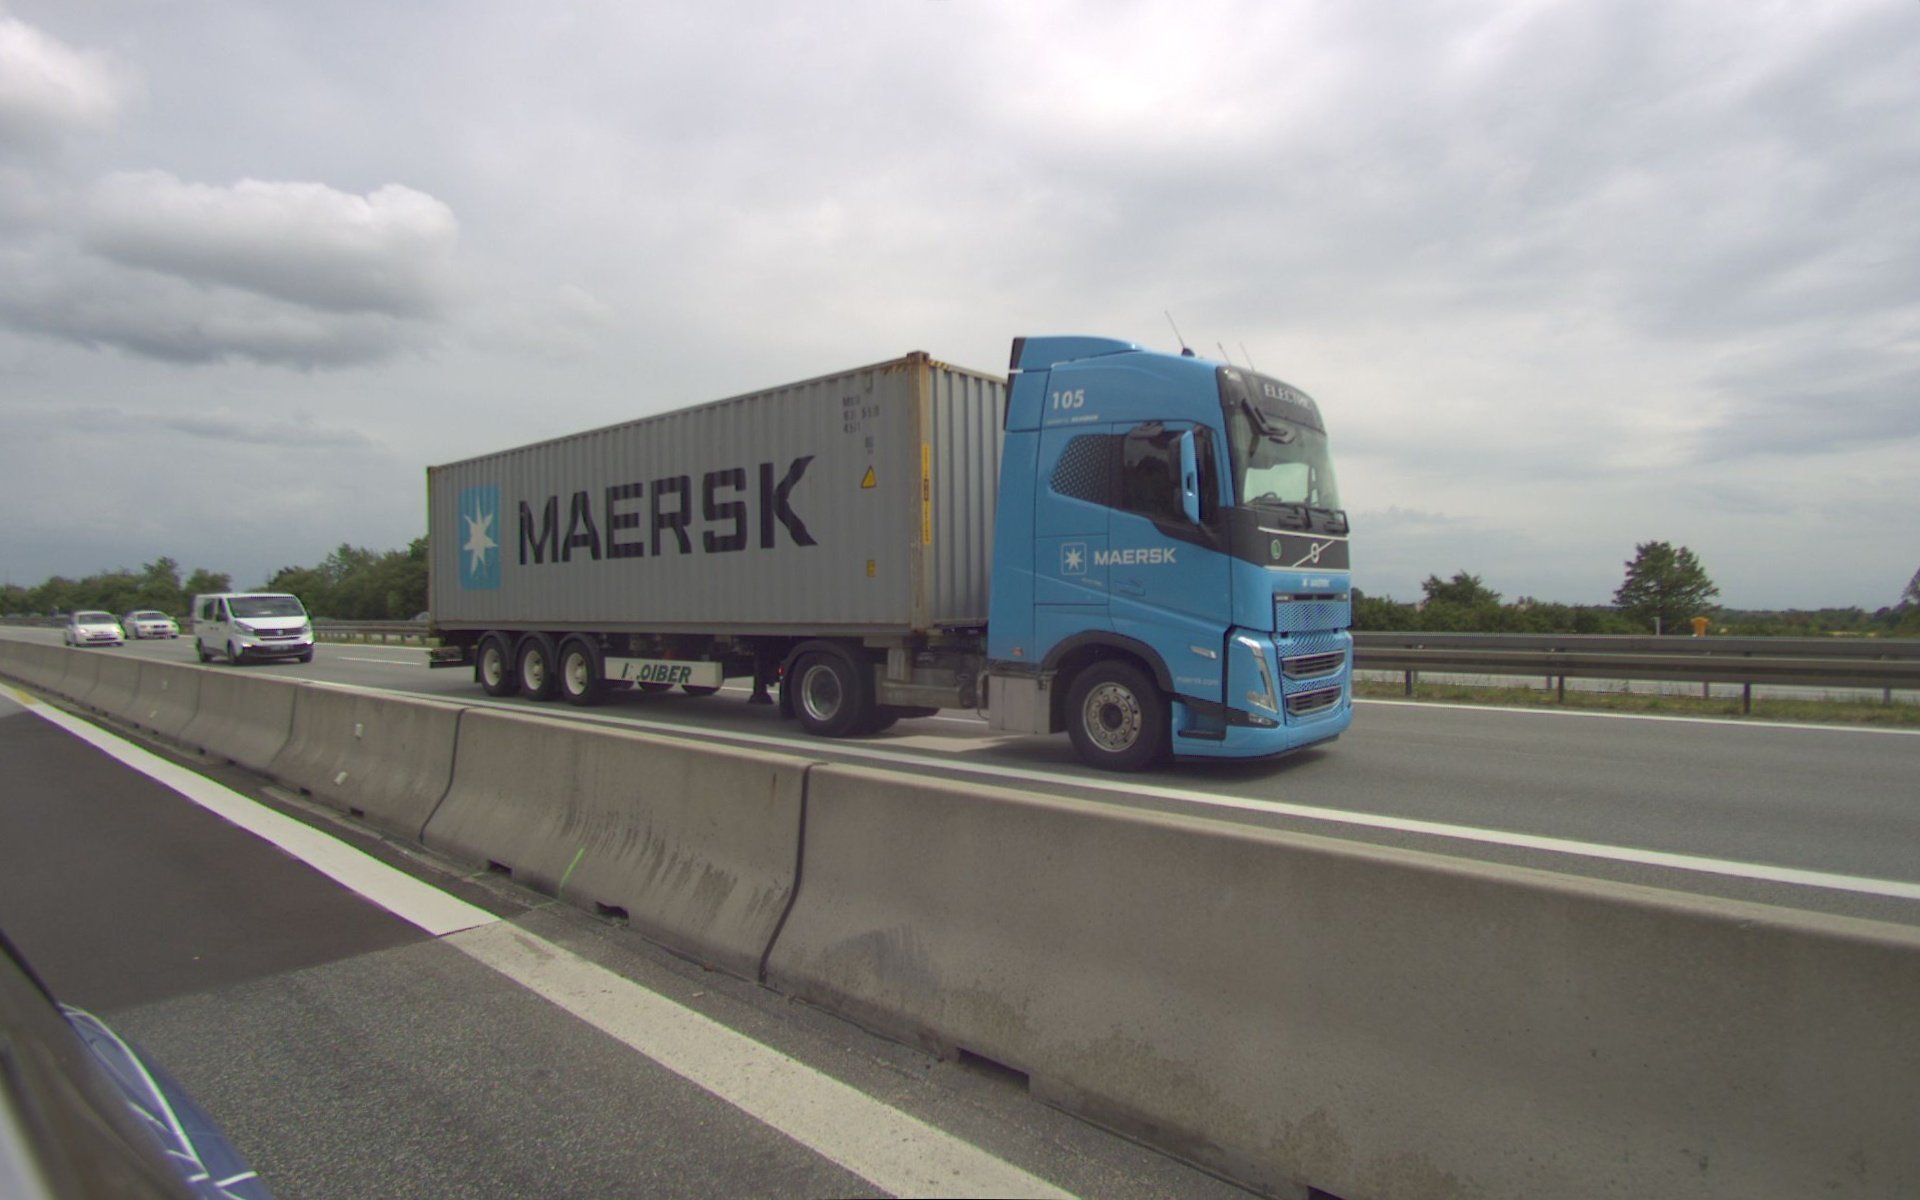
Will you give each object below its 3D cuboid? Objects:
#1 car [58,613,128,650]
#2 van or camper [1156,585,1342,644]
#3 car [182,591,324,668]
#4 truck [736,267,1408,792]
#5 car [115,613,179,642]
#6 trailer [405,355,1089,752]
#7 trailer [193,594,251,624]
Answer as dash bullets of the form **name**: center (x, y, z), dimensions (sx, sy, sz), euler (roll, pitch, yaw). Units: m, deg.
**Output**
- **car**: center (-37.098, 1.316, 43.271), dimensions (3.771, 1.496, 1.664), euler (-1, 0, 40)
- **van or camper**: center (10.561, 0.528, 37.333), dimensions (6.270, 2.029, 2.214), euler (-1, -1, 38)
- **car**: center (-19.920, 0.757, 28.433), dimensions (5.128, 1.952, 1.979), euler (0, 1, 40)
- **truck**: center (0.901, -0.515, 10.986), dimensions (6.606, 3.941, 3.213), euler (-1, 0, 41)
- **car**: center (-42.109, 1.392, 52.392), dimensions (4.201, 1.379, 1.735), euler (0, 0, 39)
- **trailer**: center (-4.154, -0.456, 15.316), dimensions (12.370, 3.954, 3.203), euler (0, 0, 40)
- **trailer**: center (-85.002, 1.005, 116.471), dimensions (9.817, 3.294, 3.165), euler (-1, 0, 41)
